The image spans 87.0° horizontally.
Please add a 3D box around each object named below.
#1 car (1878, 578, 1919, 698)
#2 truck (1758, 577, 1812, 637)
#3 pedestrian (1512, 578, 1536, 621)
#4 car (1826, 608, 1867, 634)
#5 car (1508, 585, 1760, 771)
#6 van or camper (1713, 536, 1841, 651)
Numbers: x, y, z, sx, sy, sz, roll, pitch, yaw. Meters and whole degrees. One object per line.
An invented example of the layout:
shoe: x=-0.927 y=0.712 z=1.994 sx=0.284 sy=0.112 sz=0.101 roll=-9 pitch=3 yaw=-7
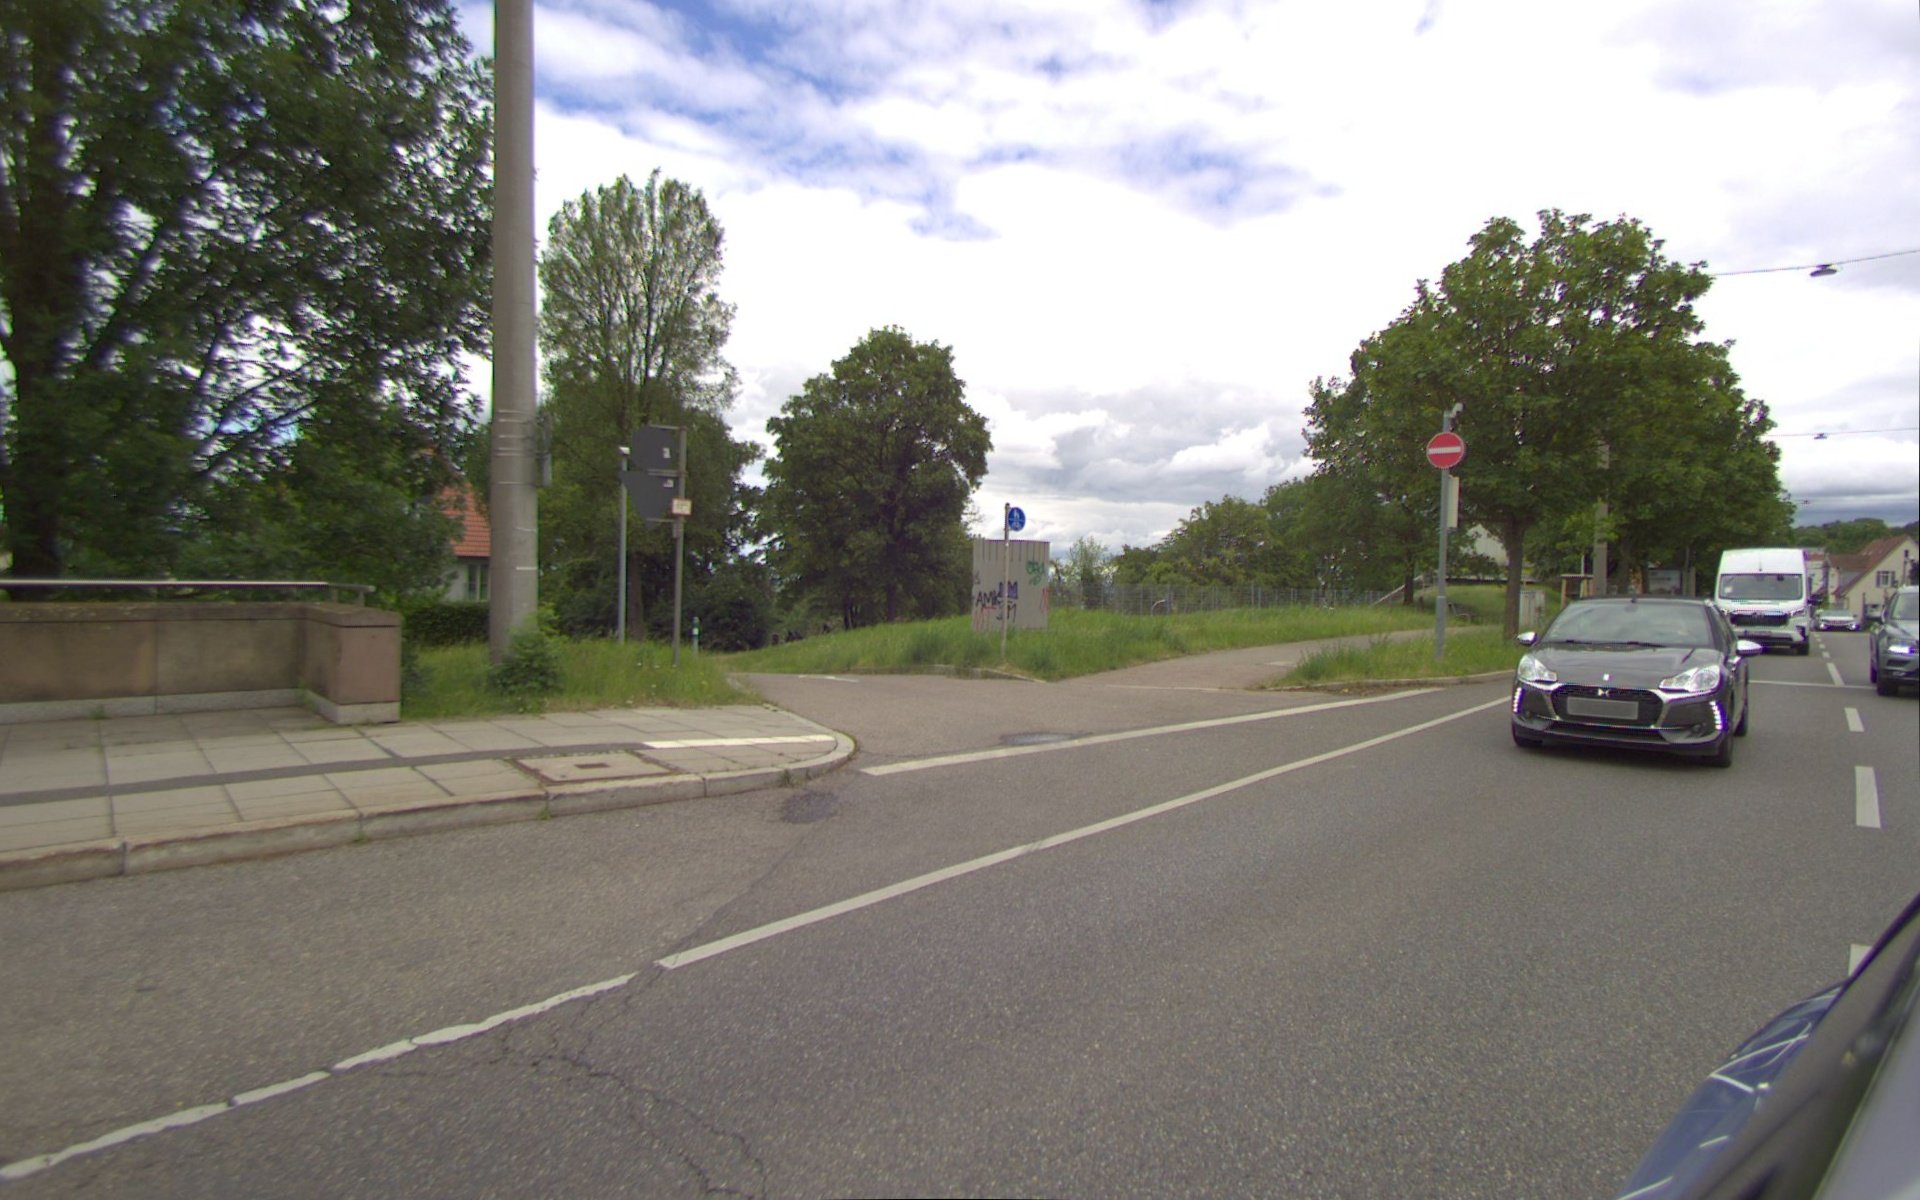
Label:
car: x=15.126 y=0.550 z=15.208 sx=1.827 sy=1.666 sz=4.262 roll=0 pitch=0 yaw=40
truck: x=58.508 y=0.496 z=71.907 sx=2.814 sy=3.975 sz=9.324 roll=0 pitch=-1 yaw=39
pedestrian: x=22.102 y=-0.001 z=39.663 sx=0.541 sy=1.623 sz=0.691 roll=8 pitch=4 yaw=44
car: x=55.585 y=1.324 z=63.504 sx=1.847 sy=1.549 sz=4.422 roll=0 pitch=-2 yaw=40
car: x=6.879 y=0.635 z=10.145 sx=1.698 sy=1.479 sz=4.003 roll=0 pitch=0 yaw=40
van or camper: x=21.764 y=-0.133 z=26.842 sx=2.105 sy=2.724 sz=6.198 roll=0 pitch=-1 yaw=44
